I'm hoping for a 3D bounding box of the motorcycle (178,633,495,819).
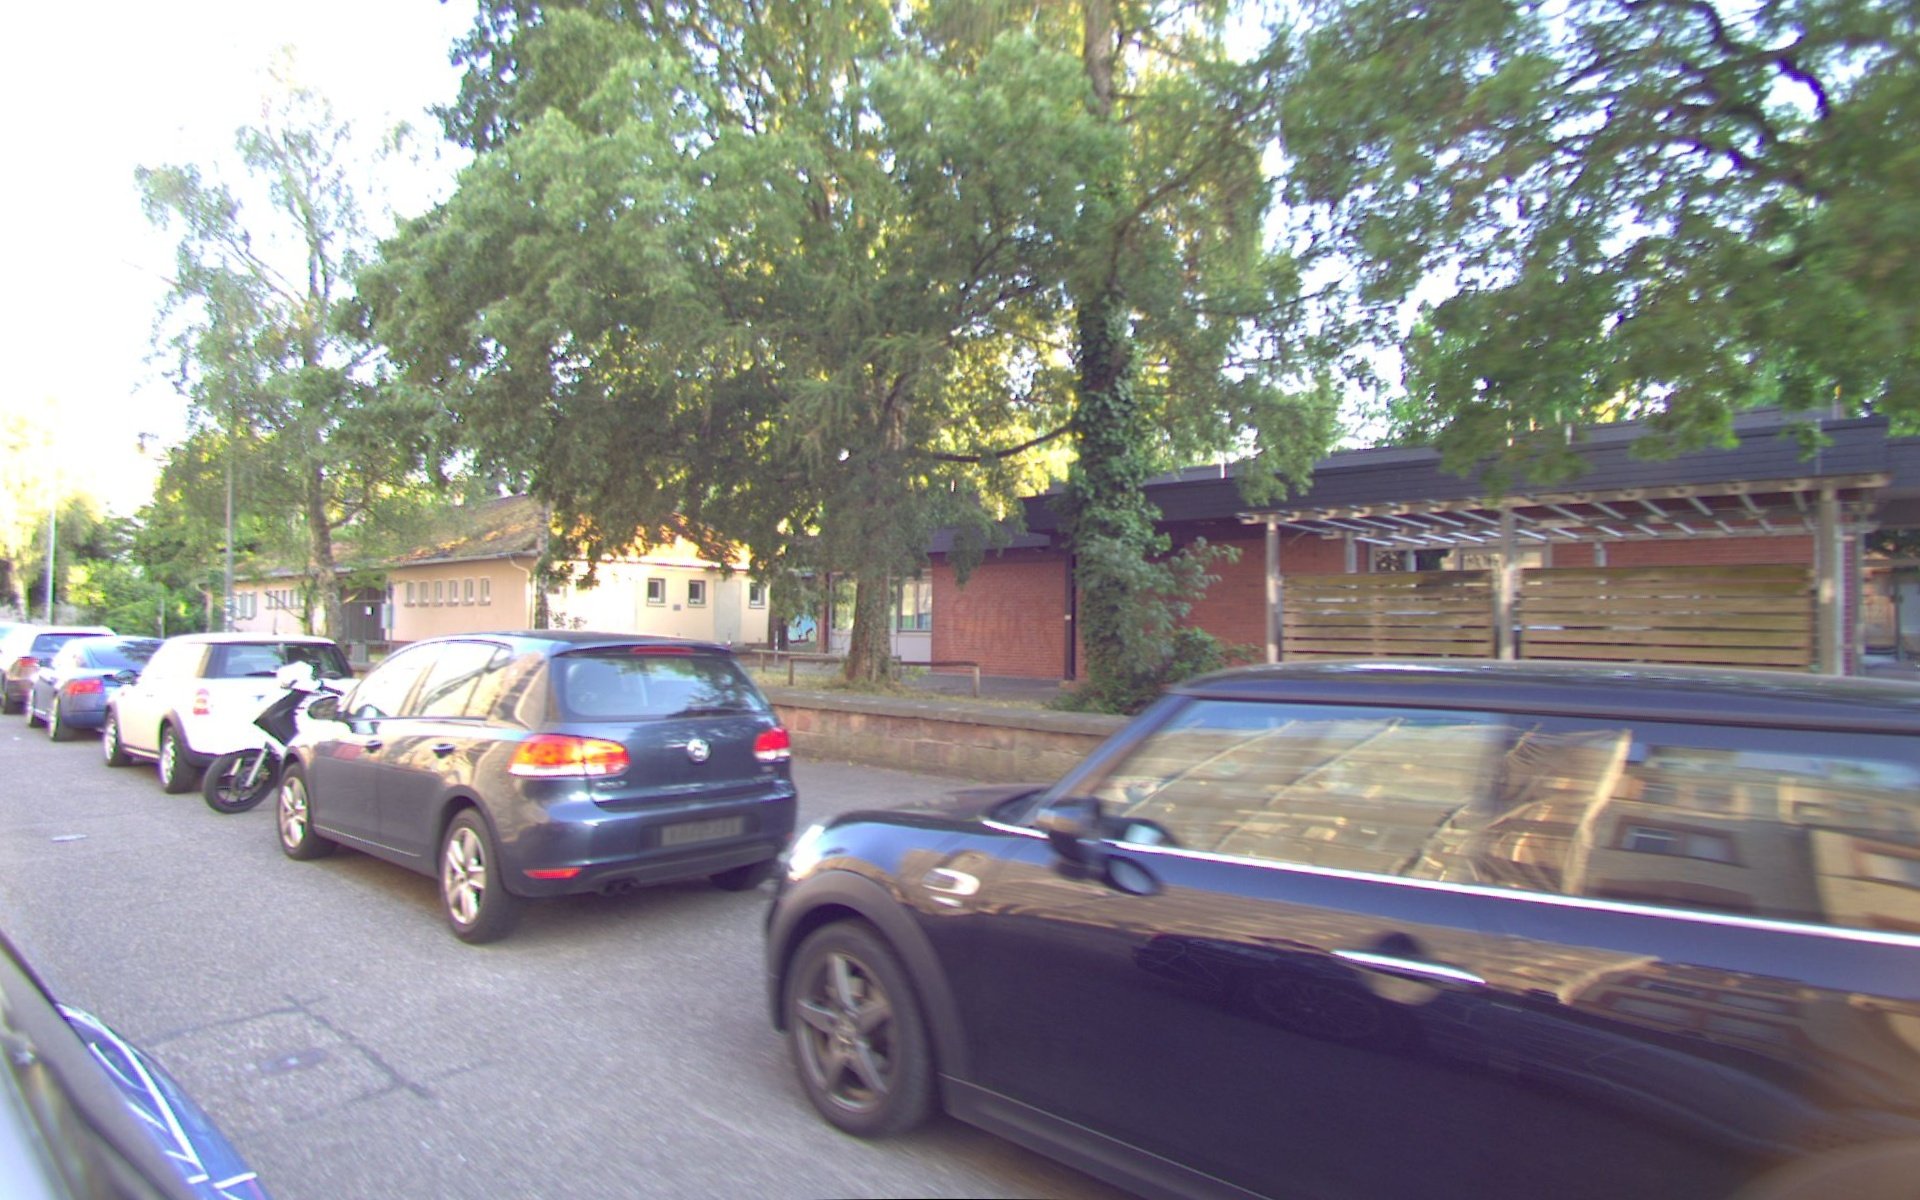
[{"bbox_3d":[-5.081,0.948,8.360,2.135,1.313,0.882,0,-1,-35],"label":"motorcycle"}]

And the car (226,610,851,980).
[{"bbox_3d":[-2.807,0.870,6.217,4.357,1.507,1.698,-1,-4,40],"label":"car"}]

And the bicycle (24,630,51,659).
[{"bbox_3d":[-37.158,1.768,40.743,1.953,1.126,0.538,-2,-1,40],"label":"bicycle"}]

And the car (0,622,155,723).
[{"bbox_3d":[-15.903,1.185,17.779,4.755,1.550,1.841,-1,-3,41],"label":"car"}]

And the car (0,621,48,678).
[{"bbox_3d":[-26.346,1.317,27.280,3.994,1.464,1.974,-1,-2,38],"label":"car"}]

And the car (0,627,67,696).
[{"bbox_3d":[-22.137,1.350,23.206,4.745,1.457,1.764,-1,-5,41],"label":"car"}]

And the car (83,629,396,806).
[{"bbox_3d":[-7.359,1.060,10.218,3.800,1.442,1.585,-1,-5,40],"label":"car"}]

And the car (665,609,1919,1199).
[{"bbox_3d":[1.022,0.816,2.754,3.991,1.489,1.619,-1,-4,42],"label":"car"}]

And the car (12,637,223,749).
[{"bbox_3d":[-11.919,1.207,14.229,4.153,1.323,1.641,-1,-4,42],"label":"car"}]
